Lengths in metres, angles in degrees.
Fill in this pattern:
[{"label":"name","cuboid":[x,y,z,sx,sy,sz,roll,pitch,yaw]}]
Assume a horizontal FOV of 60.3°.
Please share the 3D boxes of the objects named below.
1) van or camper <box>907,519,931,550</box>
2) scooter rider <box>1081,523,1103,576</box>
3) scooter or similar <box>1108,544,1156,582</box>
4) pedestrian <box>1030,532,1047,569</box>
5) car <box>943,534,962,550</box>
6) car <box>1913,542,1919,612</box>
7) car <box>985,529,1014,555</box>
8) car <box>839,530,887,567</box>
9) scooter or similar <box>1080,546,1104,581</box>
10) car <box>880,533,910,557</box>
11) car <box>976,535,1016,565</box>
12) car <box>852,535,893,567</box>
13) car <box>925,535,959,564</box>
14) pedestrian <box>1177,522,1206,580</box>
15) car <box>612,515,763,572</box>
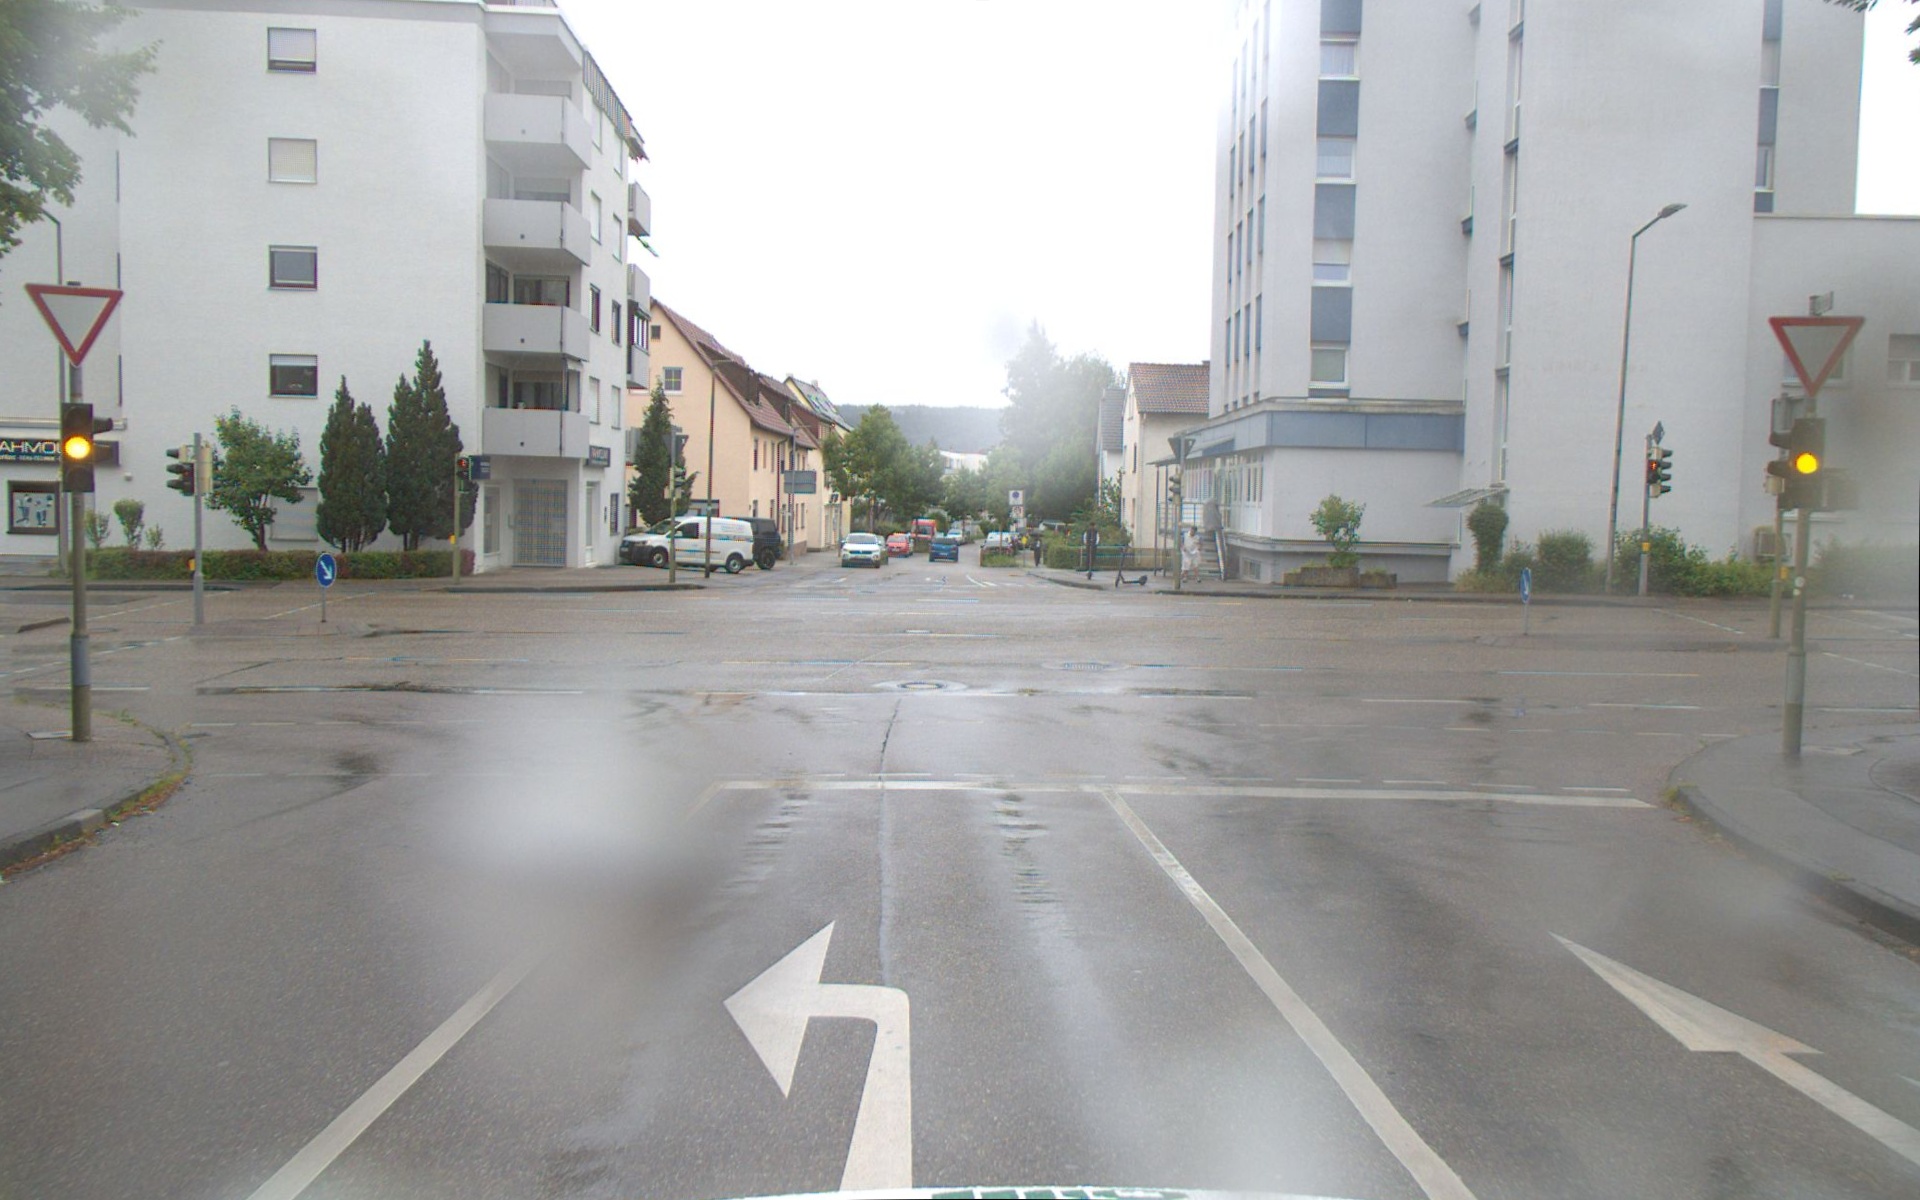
[{"label":"van or camper","cuboid":[-3.328,-5.360,135.558,1.862,2.557,4.240,0,2,0]},{"label":"scooter rider","cuboid":[4.579,-1.746,57.287,0.736,1.827,0.673,0,2,2]},{"label":"scooter or similar","cuboid":[4.966,-1.071,47.756,1.243,1.100,0.876,0,2,-5]},{"label":"pedestrian","cuboid":[4.125,-2.608,87.181,0.731,1.880,0.525,3,1,-7]},{"label":"car","cuboid":[-0.763,-5.721,163.698,1.862,1.586,4.192,0,2,0]},{"label":"car","cuboid":[22.371,-0.482,34.494,3.903,1.493,1.833,0,2,4]},{"label":"car","cuboid":[2.673,-3.938,112.659,1.862,1.775,4.192,0,2,0]},{"label":"car","cuboid":[-4.503,-2.415,76.985,1.952,1.654,4.192,0,2,0]},{"label":"scooter or similar","cuboid":[4.568,-1.268,57.275,0.741,1.192,1.315,0,2,1]},{"label":"car","cuboid":[-4.409,-3.752,113.435,1.862,1.586,4.192,0,2,0]},{"label":"car","cuboid":[1.959,-2.734,90.504,2.102,1.616,4.129,0,2,0]},{"label":"car","cuboid":[-4.637,-2.638,88.387,1.952,1.654,4.192,0,2,0]},{"label":"car","cuboid":[-1.088,-3.036,99.437,1.953,1.713,3.999,0,2,-2]},{"label":"pedestrian","cuboid":[6.840,-1.439,48.869,0.635,1.675,0.525,3,1,-7]},{"label":"car","cuboid":[-9.295,-1.947,56.618,4.796,1.867,1.972,-2,2,-39]}]
